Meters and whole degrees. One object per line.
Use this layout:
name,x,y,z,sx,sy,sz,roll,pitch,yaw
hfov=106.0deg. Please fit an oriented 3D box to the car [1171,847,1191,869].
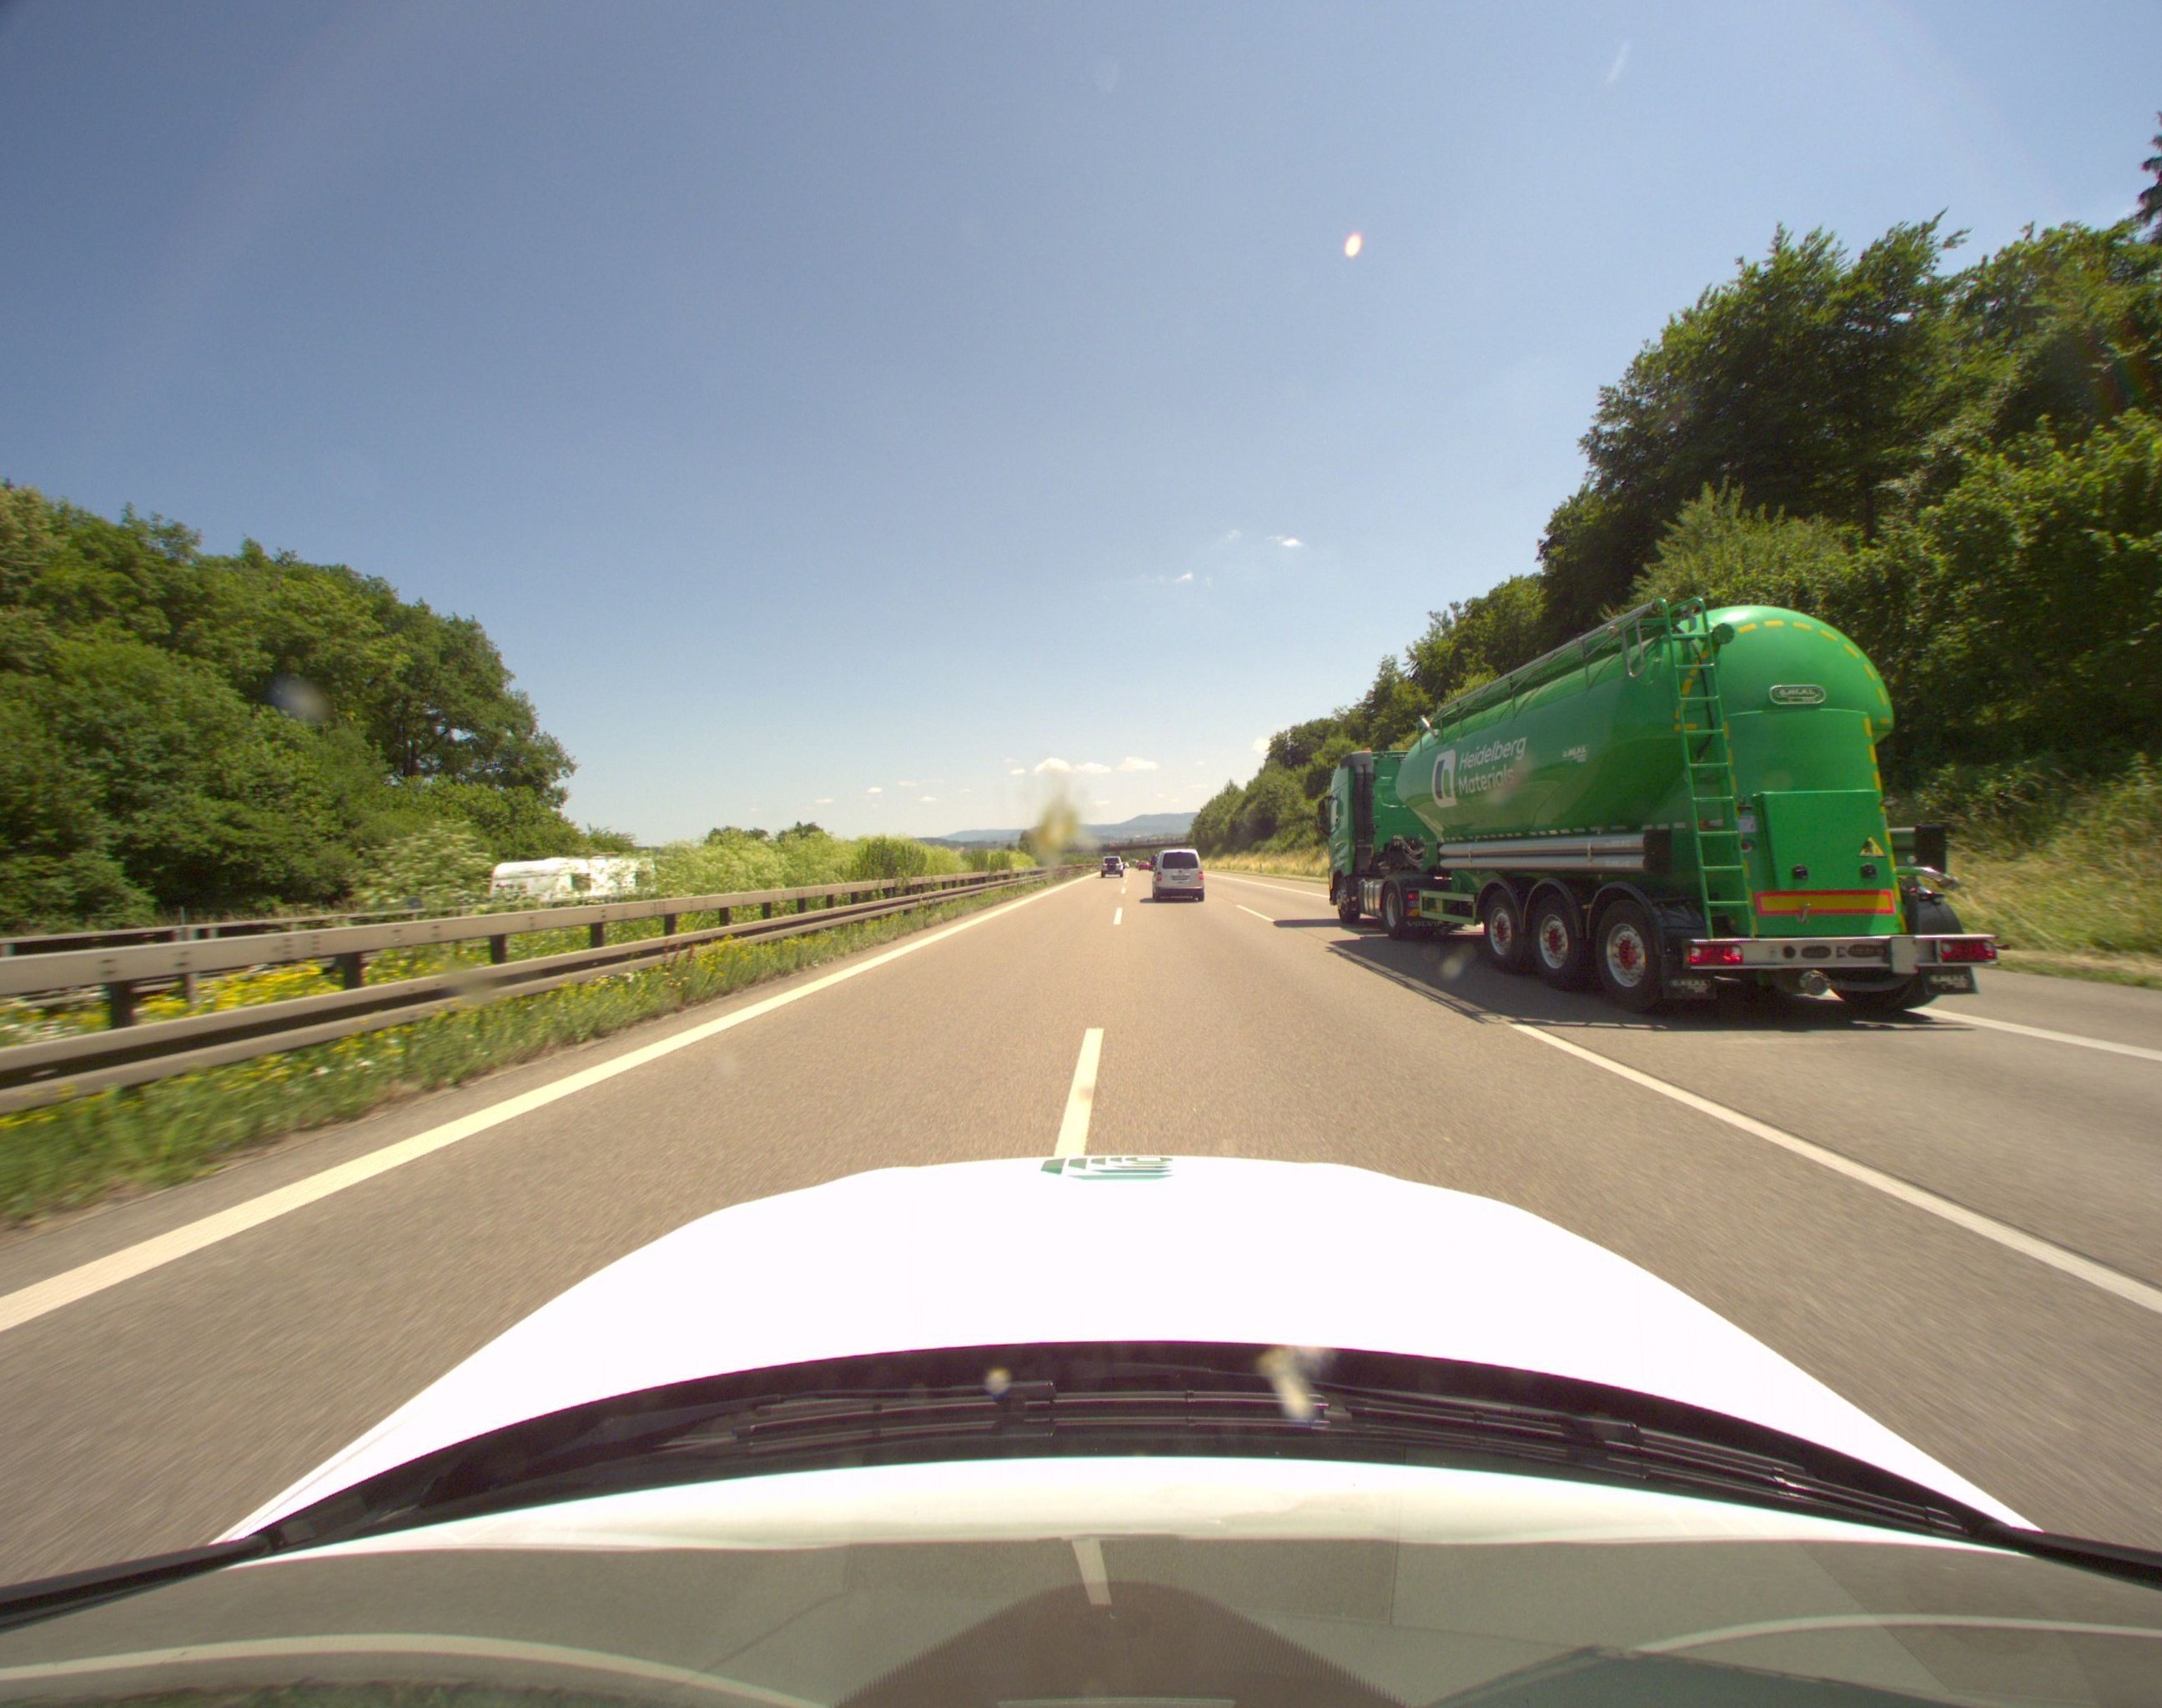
car,11.947,0.474,97.942,2.080,2.576,6.630,-1,0,4

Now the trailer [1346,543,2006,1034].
trailer,6.605,-0.540,11.982,2.576,4.028,10.480,-1,0,4

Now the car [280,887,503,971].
car,-17.907,1.867,21.524,1.788,1.772,4.646,-1,0,2

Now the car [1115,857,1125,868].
car,7.499,1.555,156.402,1.985,2.013,4.004,-1,0,3

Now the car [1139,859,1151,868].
car,9.787,1.451,125.030,1.678,1.379,3.952,-1,0,4

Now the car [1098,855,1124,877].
car,2.740,1.055,72.651,2.073,1.829,4.760,-1,0,5

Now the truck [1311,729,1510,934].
truck,6.911,-0.431,17.823,2.500,3.842,4.895,-1,0,2

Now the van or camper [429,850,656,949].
van or camper,-17.768,1.315,27.665,2.312,2.866,7.697,-1,0,2

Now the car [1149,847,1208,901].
car,3.525,0.682,30.224,1.739,1.829,4.803,-1,0,2

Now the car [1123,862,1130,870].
car,12.365,3.270,221.591,1.690,2.013,3.826,-1,0,4
